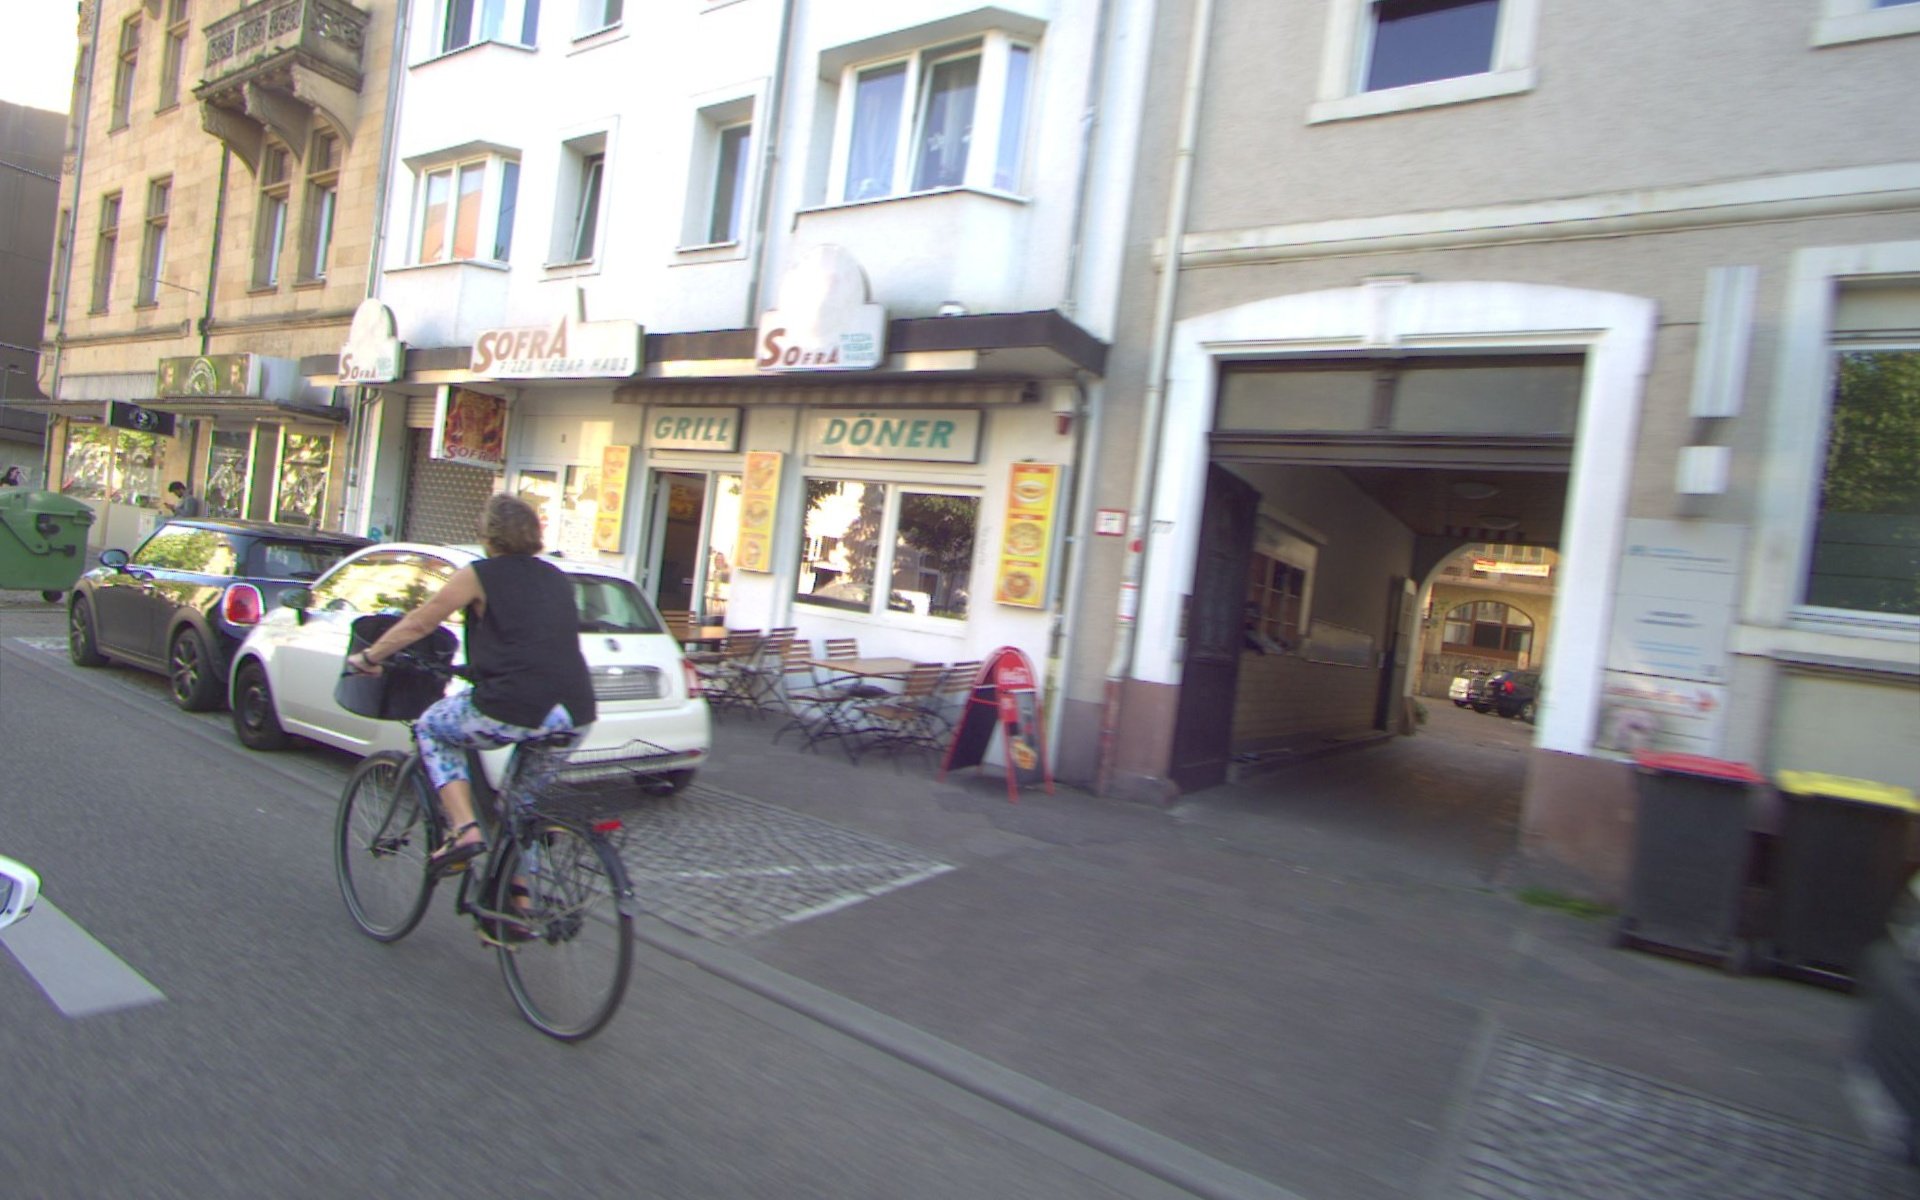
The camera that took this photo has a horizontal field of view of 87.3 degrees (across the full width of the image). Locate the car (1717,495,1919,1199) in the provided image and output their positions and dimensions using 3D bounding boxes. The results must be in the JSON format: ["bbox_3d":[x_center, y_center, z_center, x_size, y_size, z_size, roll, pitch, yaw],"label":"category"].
[{"bbox_3d":[4.607,1.091,1.624,5.033,2.029,1.996,8,0,32],"label":"car"}]

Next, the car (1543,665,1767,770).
[{"bbox_3d":[15.758,2.642,23.084,3.934,1.714,1.998,6,-2,32],"label":"car"}]

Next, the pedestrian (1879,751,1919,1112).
[{"bbox_3d":[4.107,1.158,3.961,0.451,1.631,0.748,7,6,34],"label":"pedestrian"}]

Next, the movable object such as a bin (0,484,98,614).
[{"bbox_3d":[-11.696,-0.663,12.584,1.470,1.477,1.072,9,4,39],"label":"movable object such as a bin"}]

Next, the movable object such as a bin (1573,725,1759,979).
[{"bbox_3d":[3.893,1.329,5.568,0.688,1.151,0.838,6,0,36],"label":"movable object such as a bin"}]

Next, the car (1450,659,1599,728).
[{"bbox_3d":[19.051,3.142,34.170,3.925,1.714,2.002,7,-2,18],"label":"car"}]

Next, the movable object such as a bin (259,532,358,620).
[{"bbox_3d":[-9.631,-0.347,14.883,0.815,1.136,0.877,6,-2,33],"label":"movable object such as a bin"}]

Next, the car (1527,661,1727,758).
[{"bbox_3d":[16.718,2.730,25.466,3.934,1.814,1.998,6,-2,32],"label":"car"}]

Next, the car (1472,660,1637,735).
[{"bbox_3d":[18.324,2.989,31.218,3.925,1.714,2.002,7,-2,19],"label":"car"}]

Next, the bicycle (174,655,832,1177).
[{"bbox_3d":[-1.723,0.849,3.475,2.654,0.969,0.653,6,-2,33],"label":"bicycle"}]

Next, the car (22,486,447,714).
[{"bbox_3d":[-6.320,-0.039,8.660,3.725,1.464,1.680,6,-2,34],"label":"car"}]

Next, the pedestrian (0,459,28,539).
[{"bbox_3d":[-23.430,-2.482,24.615,0.642,1.893,0.621,8,-1,-34],"label":"pedestrian"}]

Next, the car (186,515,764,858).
[{"bbox_3d":[-3.241,0.387,6.595,3.523,1.535,1.719,6,1,32],"label":"car"}]

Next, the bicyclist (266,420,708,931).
[{"bbox_3d":[-1.637,0.206,3.503,1.078,1.470,0.787,6,-1,33],"label":"bicyclist"}]

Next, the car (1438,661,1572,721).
[{"bbox_3d":[20.729,3.444,38.423,3.924,1.714,2.003,7,-2,10],"label":"car"}]

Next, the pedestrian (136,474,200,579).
[{"bbox_3d":[-14.305,-1.322,18.166,0.672,1.811,0.608,7,1,32],"label":"pedestrian"}]

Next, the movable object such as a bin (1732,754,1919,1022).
[{"bbox_3d":[4.506,1.430,5.231,0.650,1.091,0.794,6,3,35],"label":"movable object such as a bin"}]
